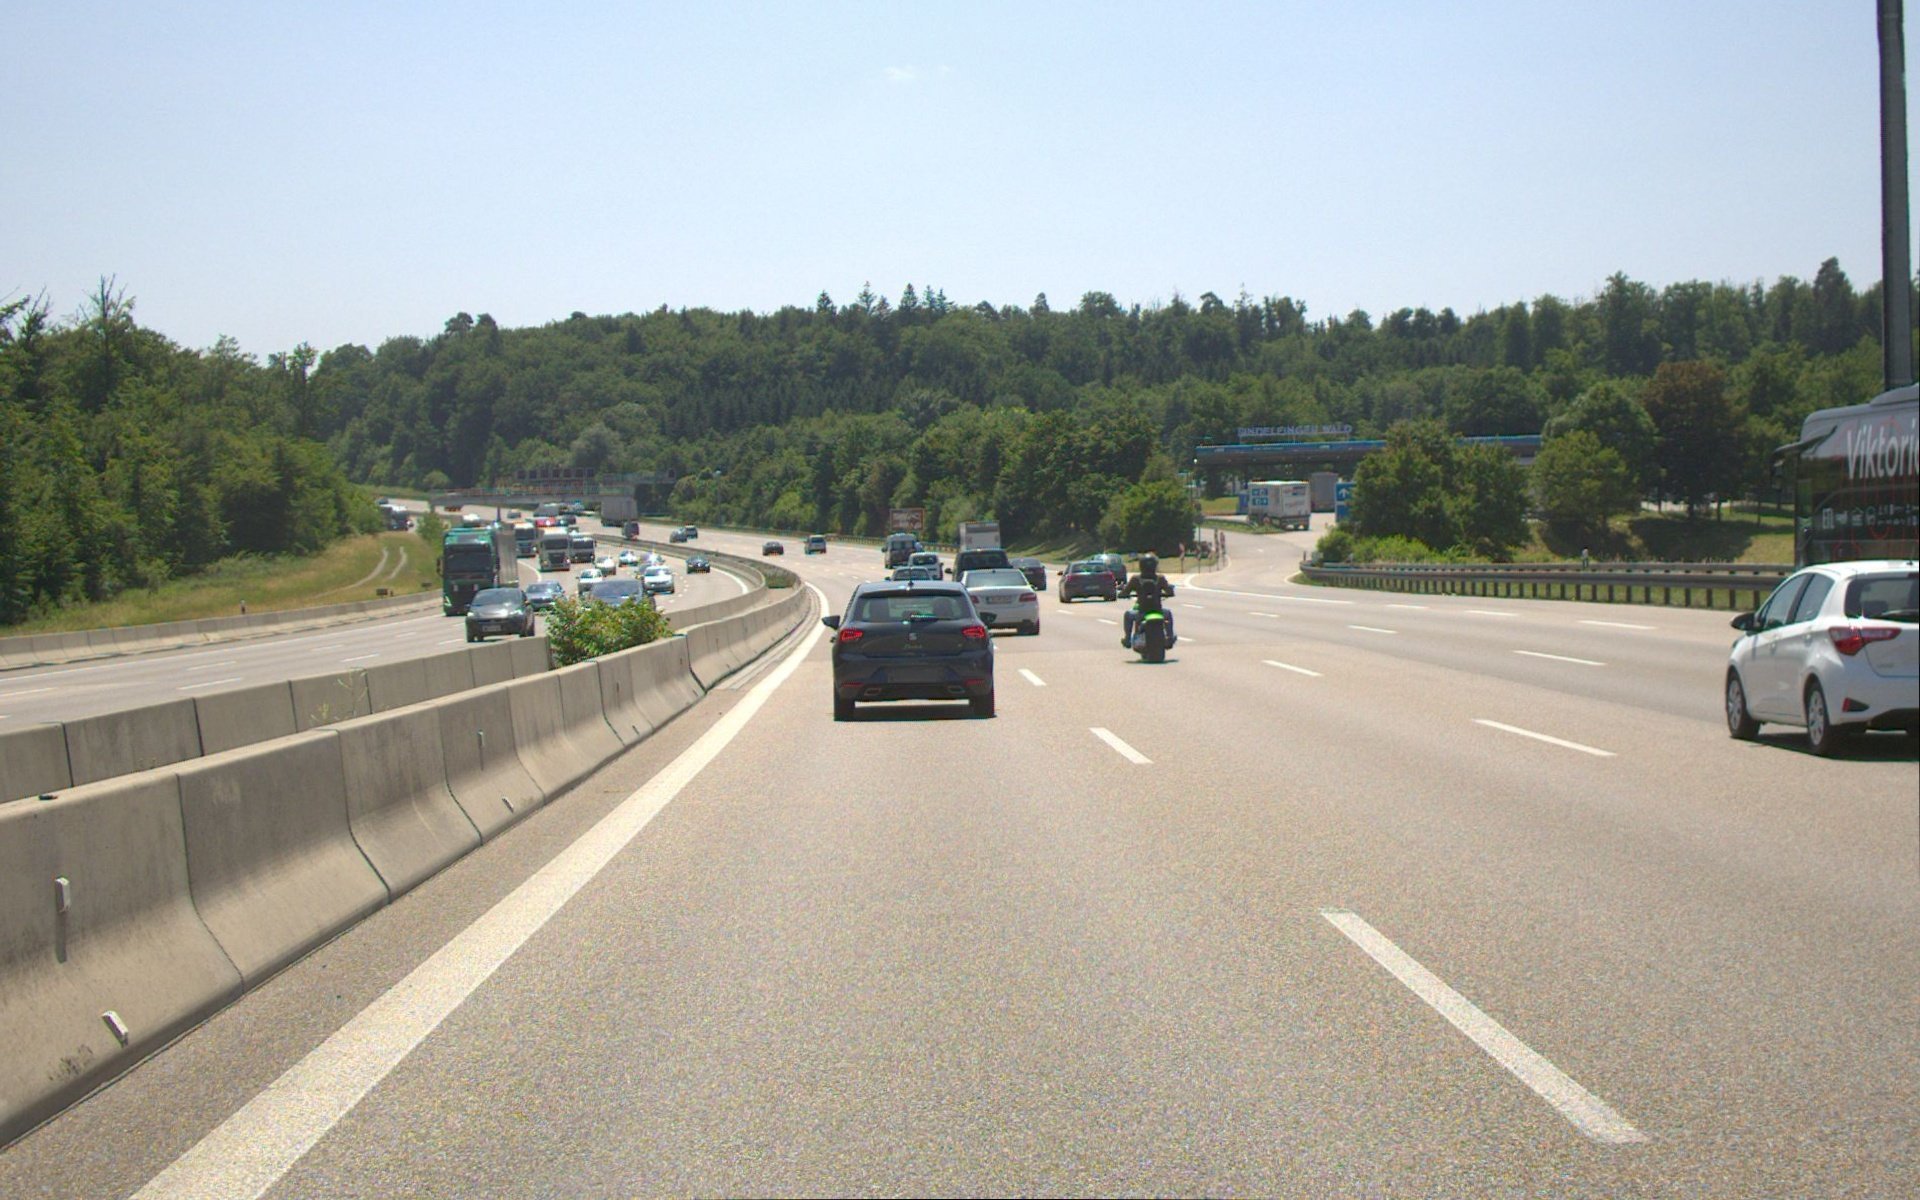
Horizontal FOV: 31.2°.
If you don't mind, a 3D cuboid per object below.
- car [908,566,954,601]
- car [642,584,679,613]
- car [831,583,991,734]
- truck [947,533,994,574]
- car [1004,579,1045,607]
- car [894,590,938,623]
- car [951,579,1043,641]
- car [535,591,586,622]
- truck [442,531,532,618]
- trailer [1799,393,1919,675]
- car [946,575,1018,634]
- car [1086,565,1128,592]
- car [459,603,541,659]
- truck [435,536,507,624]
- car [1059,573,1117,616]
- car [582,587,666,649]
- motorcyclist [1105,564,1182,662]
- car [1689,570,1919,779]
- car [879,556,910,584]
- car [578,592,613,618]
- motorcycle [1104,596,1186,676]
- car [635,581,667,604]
[{"bbox_3d":[-1.507,-0.846,175.943,1.993,1.678,4.424,0,1,-5],"label":"car"},{"bbox_3d":[-17.096,-0.081,196.546,1.831,1.556,4.777,-2,0,-2],"label":"car"},{"bbox_3d":[-0.512,0.591,36.928,1.624,1.482,3.685,0,1,0],"label":"car"},{"bbox_3d":[0.710,-3.256,239.740,2.726,2.776,5.684,0,1,-5],"label":"truck"},{"bbox_3d":[2.833,-0.320,151.784,1.608,1.208,3.460,-2,0,-2],"label":"car"},{"bbox_3d":[-1.717,0.234,133.808,1.536,1.208,3.460,-2,0,-3],"label":"car"},{"bbox_3d":[0.785,0.202,74.559,1.782,1.261,3.460,-1,1,-2],"label":"car"},{"bbox_3d":[-17.727,0.279,152.691,1.831,1.297,4.730,-1,0,-2],"label":"car"},{"bbox_3d":[-23.265,-1.256,169.888,2.690,4.012,14.299,-2,1,-2],"label":"truck"},{"bbox_3d":[13.960,-0.898,44.788,2.857,3.675,13.542,-2,0,1],"label":"trailer"},{"bbox_3d":[0.705,0.148,112.943,2.097,1.845,4.081,-2,0,-2],"label":"car"},{"bbox_3d":[6.734,-0.982,157.525,1.608,1.208,3.460,-2,0,-2],"label":"car"},{"bbox_3d":[-13.122,0.869,98.269,1.767,1.473,4.481,-2,0,-1],"label":"car"},{"bbox_3d":[-23.091,-0.954,162.557,2.657,4.012,5.511,-2,0,-2],"label":"truck"},{"bbox_3d":[4.379,-0.203,118.110,1.675,1.427,3.685,-1,1,-2],"label":"car"},{"bbox_3d":[-9.149,0.477,94.018,1.831,1.563,4.786,-2,1,-1],"label":"car"},{"bbox_3d":[2.792,0.186,52.524,0.962,1.432,1.235,-3,1,-5],"label":"motorcyclist"},{"bbox_3d":[7.267,0.533,27.719,1.666,1.428,4.376,-4,1,-1],"label":"car"},{"bbox_3d":[-4.834,-2.260,254.982,1.993,2.007,4.675,0,1,-5],"label":"car"},{"bbox_3d":[-22.802,0.317,215.279,1.872,1.529,4.136,-3,0,-2],"label":"car"},{"bbox_3d":[2.810,0.540,52.377,0.977,1.125,2.271,-2,1,-3],"label":"motorcycle"},{"bbox_3d":[-21.024,-0.517,234.180,1.872,1.471,5.112,-2,0,-2],"label":"car"}]
